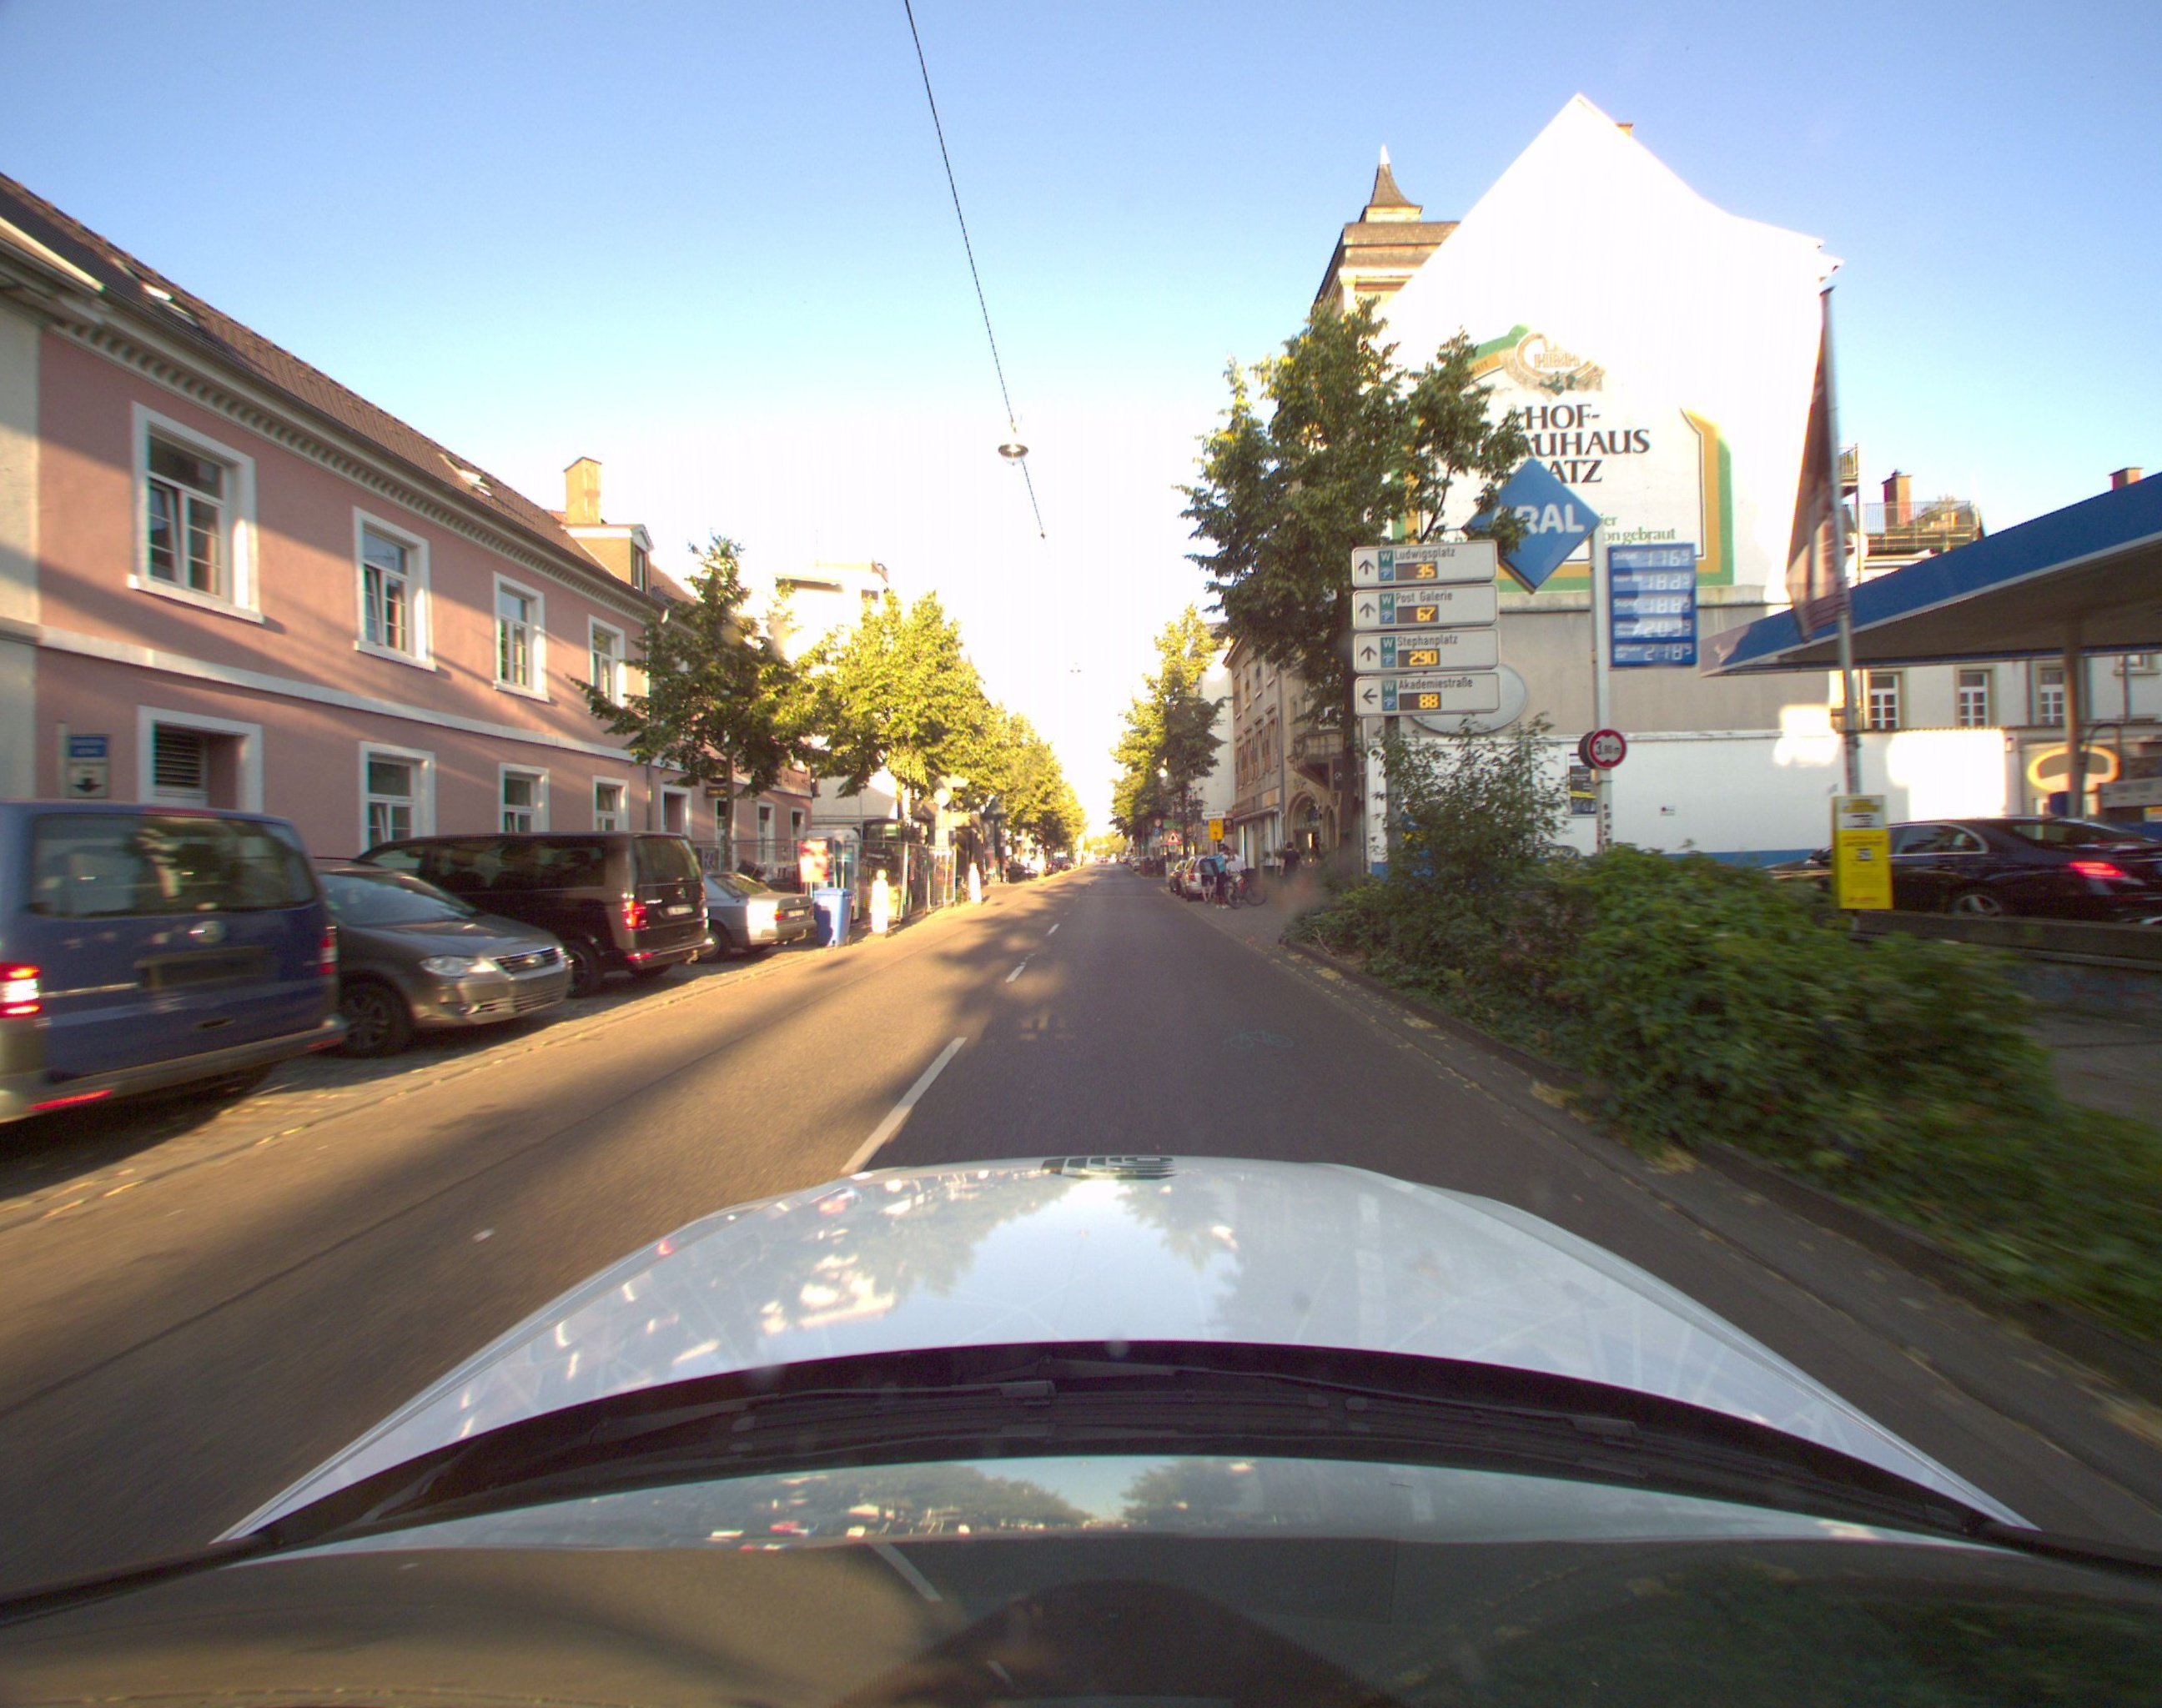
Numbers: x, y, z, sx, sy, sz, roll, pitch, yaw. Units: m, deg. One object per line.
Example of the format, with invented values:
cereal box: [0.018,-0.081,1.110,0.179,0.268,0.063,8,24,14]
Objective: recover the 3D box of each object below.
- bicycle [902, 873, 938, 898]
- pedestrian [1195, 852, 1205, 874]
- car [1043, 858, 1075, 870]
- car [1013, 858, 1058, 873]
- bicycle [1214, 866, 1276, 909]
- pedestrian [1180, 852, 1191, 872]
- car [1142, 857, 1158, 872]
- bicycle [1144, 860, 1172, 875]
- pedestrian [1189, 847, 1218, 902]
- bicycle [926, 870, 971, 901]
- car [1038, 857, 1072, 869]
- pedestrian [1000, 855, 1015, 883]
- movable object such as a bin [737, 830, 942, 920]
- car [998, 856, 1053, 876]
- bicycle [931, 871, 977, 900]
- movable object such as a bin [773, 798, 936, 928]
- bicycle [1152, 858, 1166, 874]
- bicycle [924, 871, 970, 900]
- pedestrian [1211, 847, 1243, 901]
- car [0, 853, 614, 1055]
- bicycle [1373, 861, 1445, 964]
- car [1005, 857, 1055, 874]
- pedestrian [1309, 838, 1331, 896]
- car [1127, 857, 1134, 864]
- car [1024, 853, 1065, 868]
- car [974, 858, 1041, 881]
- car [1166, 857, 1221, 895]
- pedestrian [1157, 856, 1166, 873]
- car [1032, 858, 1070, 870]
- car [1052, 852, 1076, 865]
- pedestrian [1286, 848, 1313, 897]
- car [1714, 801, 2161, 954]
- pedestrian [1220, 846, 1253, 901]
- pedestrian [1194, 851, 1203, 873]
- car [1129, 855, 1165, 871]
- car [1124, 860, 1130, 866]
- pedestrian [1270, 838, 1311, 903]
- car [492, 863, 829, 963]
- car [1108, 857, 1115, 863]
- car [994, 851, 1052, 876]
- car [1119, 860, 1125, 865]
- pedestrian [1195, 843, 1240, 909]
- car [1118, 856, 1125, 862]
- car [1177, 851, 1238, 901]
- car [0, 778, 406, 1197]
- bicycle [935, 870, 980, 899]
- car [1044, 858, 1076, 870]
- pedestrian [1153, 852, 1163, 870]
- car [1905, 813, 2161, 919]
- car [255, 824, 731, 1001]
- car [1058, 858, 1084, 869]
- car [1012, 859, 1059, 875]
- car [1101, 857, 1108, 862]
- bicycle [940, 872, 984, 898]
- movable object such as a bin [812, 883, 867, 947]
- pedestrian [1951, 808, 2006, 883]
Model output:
bicycle: [-6.390,1.241,32.370,1.318,0.980,0.445,0,-2,5]
pedestrian: [8.816,0.676,60.363,0.565,1.584,0.664,-3,1,2]
car: [-3.089,1.449,113.898,4.286,1.598,1.920,-1,-1,2]
car: [-4.592,1.189,82.419,4.424,1.458,1.860,-1,-1,2]
bicycle: [4.791,0.949,23.694,0.856,1.099,1.939,-3,0,41]
pedestrian: [8.604,0.687,67.217,0.791,1.625,0.916,-1,0,14]
car: [6.893,1.078,81.292,1.536,1.433,3.682,-1,0,4]
bicycle: [5.798,0.994,61.282,1.935,1.074,0.710,-1,0,33]
pedestrian: [3.964,0.661,26.477,0.677,1.754,0.823,-2,-1,-8]
bicycle: [-4.937,1.169,30.399,1.554,1.116,0.440,2,-2,-31]
car: [-3.509,1.174,109.510,4.424,1.523,1.920,-1,-1,2]
pedestrian: [-4.508,0.922,50.159,0.706,1.686,0.836,-1,0,11]
movable object such as a bin: [-7.455,0.571,25.637,5.788,2.495,2.285,-1,0,-45]
car: [-4.773,1.049,70.458,4.553,1.698,2.061,-1,-1,2]
bicycle: [-4.968,1.219,31.882,1.672,1.079,0.445,1,-2,9]
movable object such as a bin: [-5.734,0.228,21.587,2.615,2.969,5.306,-1,0,2]
bicycle: [5.999,0.924,62.739,0.592,1.178,1.856,-1,0,22]
bicycle: [-5.149,1.206,31.296,1.676,1.079,0.444,1,-2,1]
pedestrian: [4.790,0.640,26.734,0.678,1.706,0.822,-4,0,-13]
car: [-6.967,0.823,7.614,4.113,1.637,1.861,0,0,2]
bicycle: [4.212,0.709,10.391,0.478,1.143,1.691,-4,-1,32]
car: [-4.674,1.028,75.542,4.424,1.506,1.846,-1,-1,2]
pedestrian: [7.835,0.426,26.710,0.460,1.875,0.499,-2,0,-13]
car: [10.077,1.324,165.420,1.507,1.276,3.306,-1,-1,3]
car: [-4.123,0.753,92.121,4.424,1.568,1.920,-1,-1,2]
car: [-5.134,1.082,57.367,4.530,1.541,1.811,-1,-1,1]
car: [4.671,0.879,34.312,1.778,1.375,4.525,-4,0,2]
pedestrian: [6.821,0.879,69.300,0.723,1.378,0.781,-1,0,2]
car: [-3.593,1.220,98.628,4.424,1.449,1.920,-1,-1,2]
car: [-3.223,0.823,153.498,4.424,2.435,1.920,-1,-1,2]
pedestrian: [7.211,0.591,26.895,0.656,1.562,0.702,-4,0,2]
car: [10.652,0.247,10.181,1.728,1.431,4.910,-2,-1,2]
pedestrian: [4.975,0.625,26.014,0.657,1.700,0.660,-3,-1,-42]
pedestrian: [8.832,0.601,61.128,0.565,1.599,0.664,-3,1,2]
car: [7.016,0.928,86.005,1.654,1.588,3.846,-1,0,45]
car: [10.374,2.049,183.691,1.507,1.263,3.306,-1,-1,3]
pedestrian: [6.255,0.494,24.379,0.820,1.854,1.097,-4,0,1]
car: [-6.745,0.922,13.380,4.573,1.470,1.895,-1,0,4]
car: [8.085,1.497,216.052,1.714,1.475,3.306,-2,-1,3]
car: [-4.807,0.779,67.794,4.554,1.962,1.991,-1,-1,1]
car: [10.299,2.112,206.503,1.507,1.298,3.306,-1,-1,3]
pedestrian: [3.974,0.622,23.745,1.013,1.825,0.778,-4,0,-8]
car: [10.893,1.445,217.883,1.745,1.540,3.306,-2,-1,3]
car: [4.516,0.744,29.624,1.680,1.575,4.015,-4,0,2]
car: [-7.191,0.659,4.953,4.465,1.976,2.070,-1,0,2]
bicycle: [-4.911,1.216,32.467,1.672,1.079,0.445,1,-2,9]
car: [-2.928,1.420,115.998,4.424,1.759,1.920,-1,-1,2]
pedestrian: [8.618,0.767,91.196,0.916,1.926,1.015,0,-1,-8]
car: [15.079,0.145,11.710,1.704,1.402,4.761,-2,-1,2]
car: [-7.037,0.656,10.155,4.469,1.976,1.965,0,0,0]
car: [-1.735,1.715,143.691,4.424,1.959,1.920,-1,-1,2]
car: [-4.465,1.284,80.106,4.424,1.484,1.810,-1,-1,2]
car: [6.376,1.510,224.699,1.745,1.540,3.306,-2,-1,3]
bicycle: [-4.854,1.255,33.191,1.672,1.021,0.445,1,-2,9]
movable object such as a bin: [-4.538,1.134,15.341,0.687,1.105,0.884,-2,0,4]
pedestrian: [21.060,-0.197,19.119,0.544,1.715,0.655,-2,0,1]
